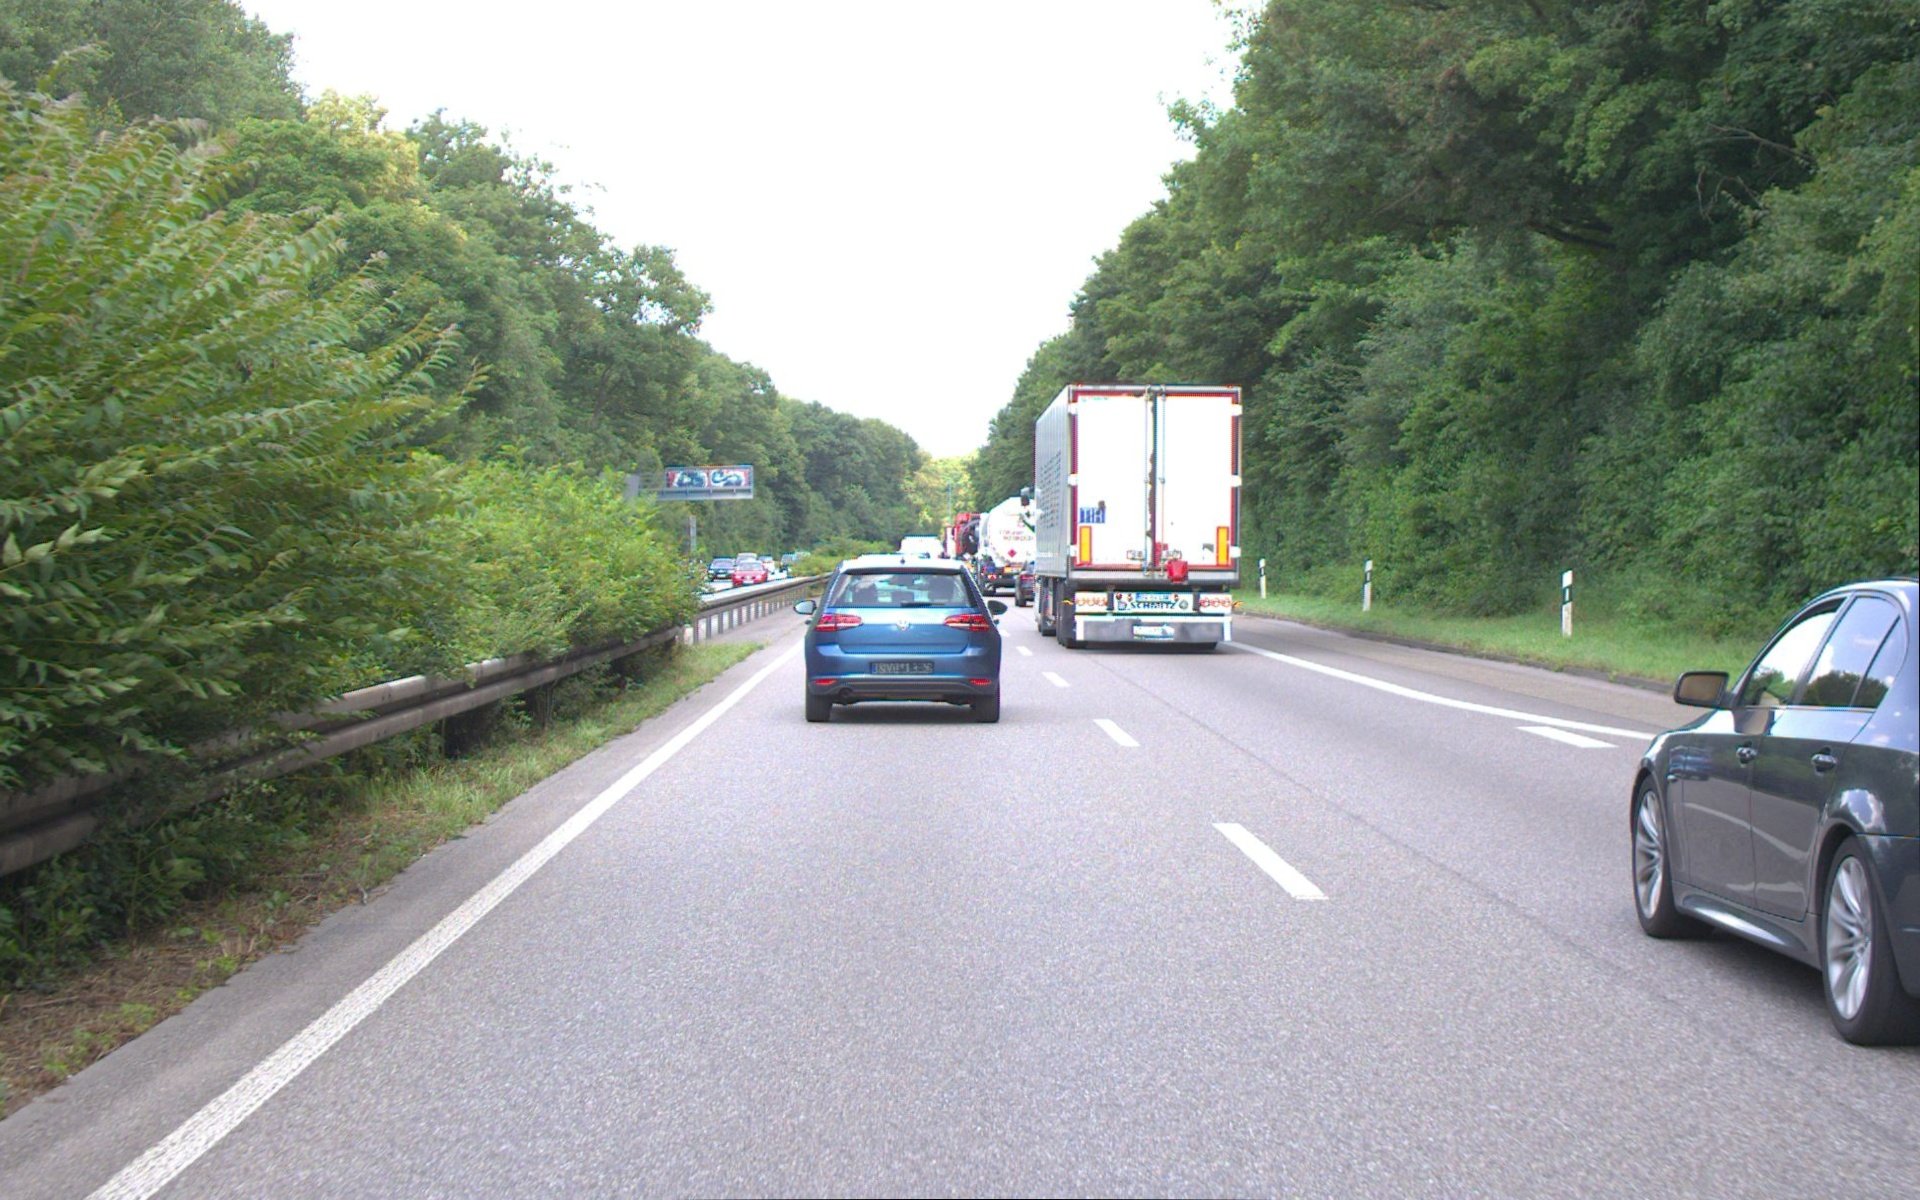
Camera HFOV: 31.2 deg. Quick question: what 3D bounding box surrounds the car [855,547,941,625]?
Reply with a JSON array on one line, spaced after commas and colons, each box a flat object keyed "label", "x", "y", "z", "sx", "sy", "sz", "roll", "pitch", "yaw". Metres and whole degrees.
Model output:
[{"label": "car", "x": -1.210, "y": -0.293, "z": 68.427, "sx": 1.665, "sy": 1.495, "sz": 4.152, "roll": 0, "pitch": 1, "yaw": 0}]

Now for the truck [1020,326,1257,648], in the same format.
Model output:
[{"label": "truck", "x": 2.734, "y": -1.772, "z": 56.216, "sx": 3.242, "sy": 4.700, "sz": 11.007, "roll": -1, "pitch": 1, "yaw": 0}]

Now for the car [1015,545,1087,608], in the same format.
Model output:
[{"label": "car", "x": 2.545, "y": -0.679, "z": 97.331, "sx": 1.888, "sy": 1.723, "sz": 4.000, "roll": -1, "pitch": 1, "yaw": 0}]

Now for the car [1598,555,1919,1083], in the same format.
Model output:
[{"label": "car", "x": 3.558, "y": 0.600, "z": 11.690, "sx": 1.774, "sy": 1.470, "sz": 4.881, "roll": 1, "pitch": 1, "yaw": -1}]

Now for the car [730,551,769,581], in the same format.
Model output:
[{"label": "car", "x": -10.433, "y": -1.681, "z": 170.710, "sx": 1.678, "sy": 1.449, "sz": 4.128, "roll": -1, "pitch": 1, "yaw": 0}]

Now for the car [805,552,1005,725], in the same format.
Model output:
[{"label": "car", "x": -0.516, "y": 0.304, "z": 31.637, "sx": 1.705, "sy": 1.465, "sz": 4.000, "roll": 1, "pitch": 1, "yaw": -1}]

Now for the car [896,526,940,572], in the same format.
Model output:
[{"label": "car", "x": -2.124, "y": -2.545, "z": 172.617, "sx": 1.993, "sy": 2.247, "sz": 4.443, "roll": -1, "pitch": 1, "yaw": -3}]

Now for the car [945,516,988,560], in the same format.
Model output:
[{"label": "car", "x": 0.332, "y": -3.336, "z": 184.357, "sx": 1.993, "sy": 2.319, "sz": 4.443, "roll": -1, "pitch": 1, "yaw": -3}]

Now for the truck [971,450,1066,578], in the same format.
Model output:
[{"label": "truck", "x": 2.027, "y": -2.998, "z": 124.516, "sx": 3.232, "sy": 4.371, "sz": 12.970, "roll": 0, "pitch": 0, "yaw": 0}]

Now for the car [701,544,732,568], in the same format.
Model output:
[{"label": "car", "x": -15.539, "y": -2.824, "z": 219.694, "sx": 1.680, "sy": 1.514, "sz": 4.859, "roll": -1, "pitch": 1, "yaw": -1}]
